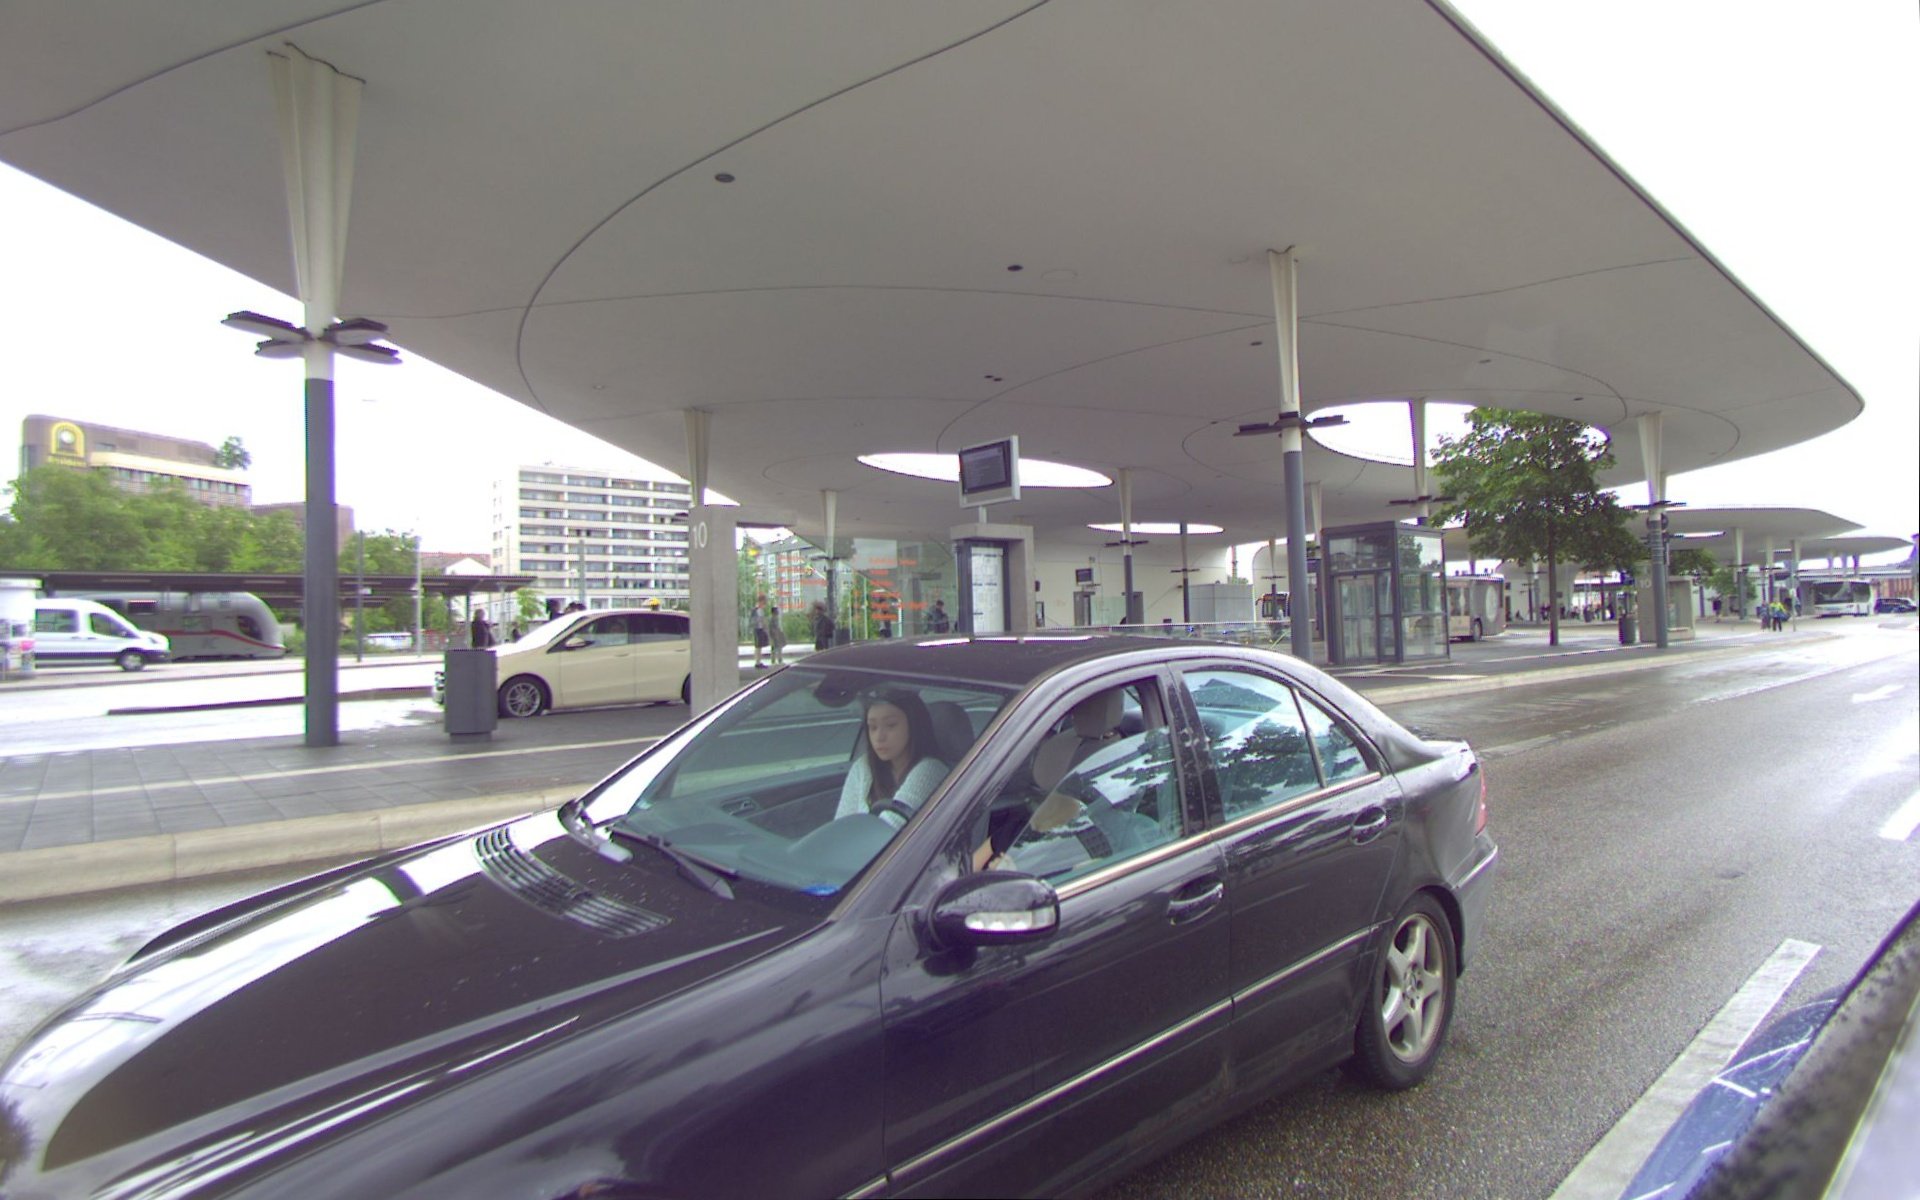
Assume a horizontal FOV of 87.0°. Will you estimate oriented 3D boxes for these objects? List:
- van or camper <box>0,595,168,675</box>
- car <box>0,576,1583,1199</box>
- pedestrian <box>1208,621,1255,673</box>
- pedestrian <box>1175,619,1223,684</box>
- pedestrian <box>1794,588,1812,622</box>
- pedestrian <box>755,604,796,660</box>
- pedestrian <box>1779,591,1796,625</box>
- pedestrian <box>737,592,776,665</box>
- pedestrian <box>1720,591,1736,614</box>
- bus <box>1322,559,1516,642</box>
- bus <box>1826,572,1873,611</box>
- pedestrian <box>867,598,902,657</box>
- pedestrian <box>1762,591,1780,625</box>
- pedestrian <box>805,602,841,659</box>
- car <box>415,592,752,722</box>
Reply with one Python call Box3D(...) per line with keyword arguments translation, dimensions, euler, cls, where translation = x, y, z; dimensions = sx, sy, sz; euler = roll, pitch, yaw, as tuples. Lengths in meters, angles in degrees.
Box3D(translation=(-29.778, 1.108, 33.227), dimensions=(5.868, 2.495, 2.106), euler=(0, -1, -41), cls="van or camper")
Box3D(translation=(0.061, 0.806, 3.039), dimensions=(4.359, 1.499, 1.747), euler=(-2, -4, -41), cls="car")
Box3D(translation=(5.281, 0.905, 19.687), dimensions=(0.626, 0.974, 0.622), euler=(0, -1, -41), cls="pedestrian")
Box3D(translation=(4.869, 1.033, 20.621), dimensions=(0.657, 1.268, 0.692), euler=(0, -1, -41), cls="pedestrian")
Box3D(translation=(40.319, 0.246, 48.420), dimensions=(0.543, 1.645, 0.556), euler=(0, -1, -41), cls="pedestrian")
Box3D(translation=(-5.133, 0.877, 28.167), dimensions=(0.732, 1.497, 0.825), euler=(-1, -1, 43), cls="pedestrian")
Box3D(translation=(40.061, 0.393, 48.989), dimensions=(0.543, 1.645, 0.556), euler=(0, -1, -41), cls="pedestrian")
Box3D(translation=(-4.920, 0.676, 24.445), dimensions=(0.680, 1.728, 0.658), euler=(0, -1, -40), cls="pedestrian")
Box3D(translation=(54.634, 0.181, 71.974), dimensions=(0.740, 1.651, 0.723), euler=(0, -1, -41), cls="pedestrian")
Box3D(translation=(20.072, 0.020, 43.611), dimensions=(12.142, 3.146, 2.999), euler=(0, -1, -42), cls="bus")
Box3D(translation=(75.372, -0.675, 85.709), dimensions=(2.666, 3.169, 9.565), euler=(-1, -1, 43), cls="bus")
Box3D(translation=(-2.008, 0.724, 27.007), dimensions=(0.680, 1.564, 0.658), euler=(0, -1, -40), cls="pedestrian")
Box3D(translation=(39.602, 0.375, 49.399), dimensions=(0.577, 1.645, 0.576), euler=(0, -1, -41), cls="pedestrian")
Box3D(translation=(-4.059, 0.877, 29.956), dimensions=(0.646, 1.654, 0.854), euler=(-1, -1, 43), cls="pedestrian")
Box3D(translation=(-5.512, 0.766, 15.134), dimensions=(4.356, 1.671, 1.803), euler=(0, -3, -41), cls="car")
